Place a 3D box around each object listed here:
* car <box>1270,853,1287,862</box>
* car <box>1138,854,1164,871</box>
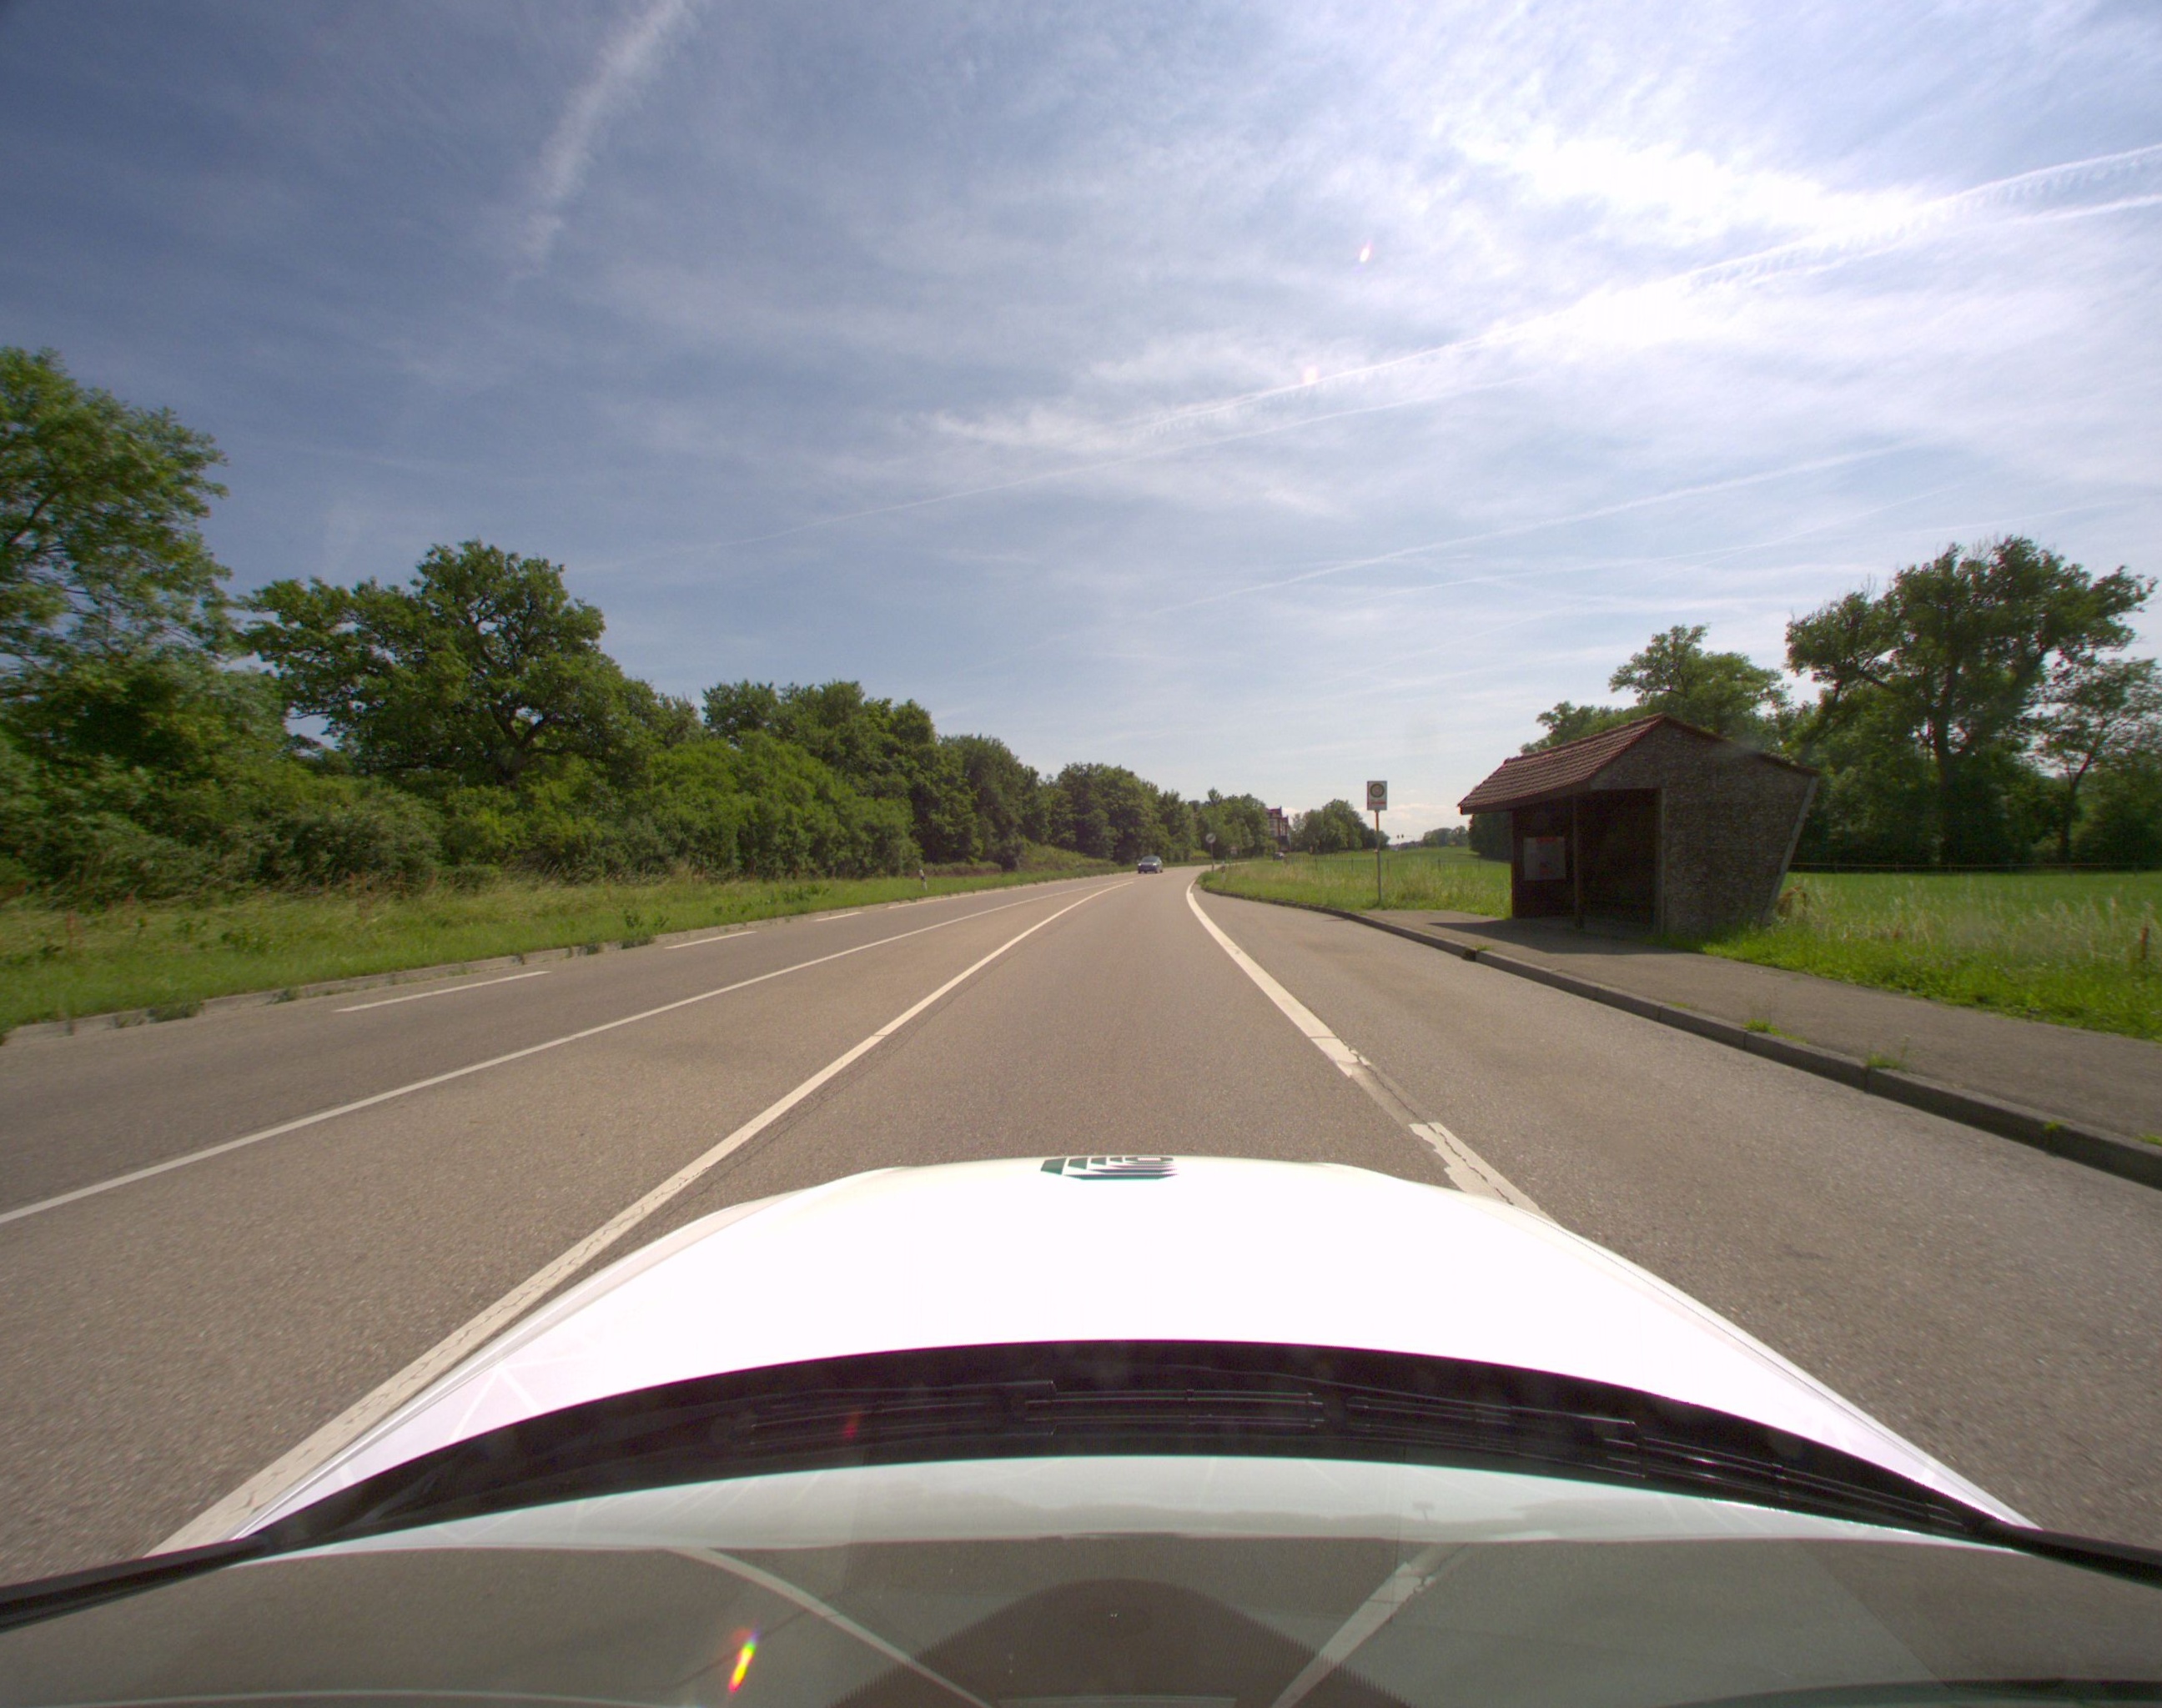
[{"bbox_3d":[36.296,0.677,149.676,1.974,1.574,4.025,-1,0,32],"label":"car"},{"bbox_3d":[6.413,0.749,74.577,1.742,1.534,4.244,-1,0,14],"label":"car"}]
